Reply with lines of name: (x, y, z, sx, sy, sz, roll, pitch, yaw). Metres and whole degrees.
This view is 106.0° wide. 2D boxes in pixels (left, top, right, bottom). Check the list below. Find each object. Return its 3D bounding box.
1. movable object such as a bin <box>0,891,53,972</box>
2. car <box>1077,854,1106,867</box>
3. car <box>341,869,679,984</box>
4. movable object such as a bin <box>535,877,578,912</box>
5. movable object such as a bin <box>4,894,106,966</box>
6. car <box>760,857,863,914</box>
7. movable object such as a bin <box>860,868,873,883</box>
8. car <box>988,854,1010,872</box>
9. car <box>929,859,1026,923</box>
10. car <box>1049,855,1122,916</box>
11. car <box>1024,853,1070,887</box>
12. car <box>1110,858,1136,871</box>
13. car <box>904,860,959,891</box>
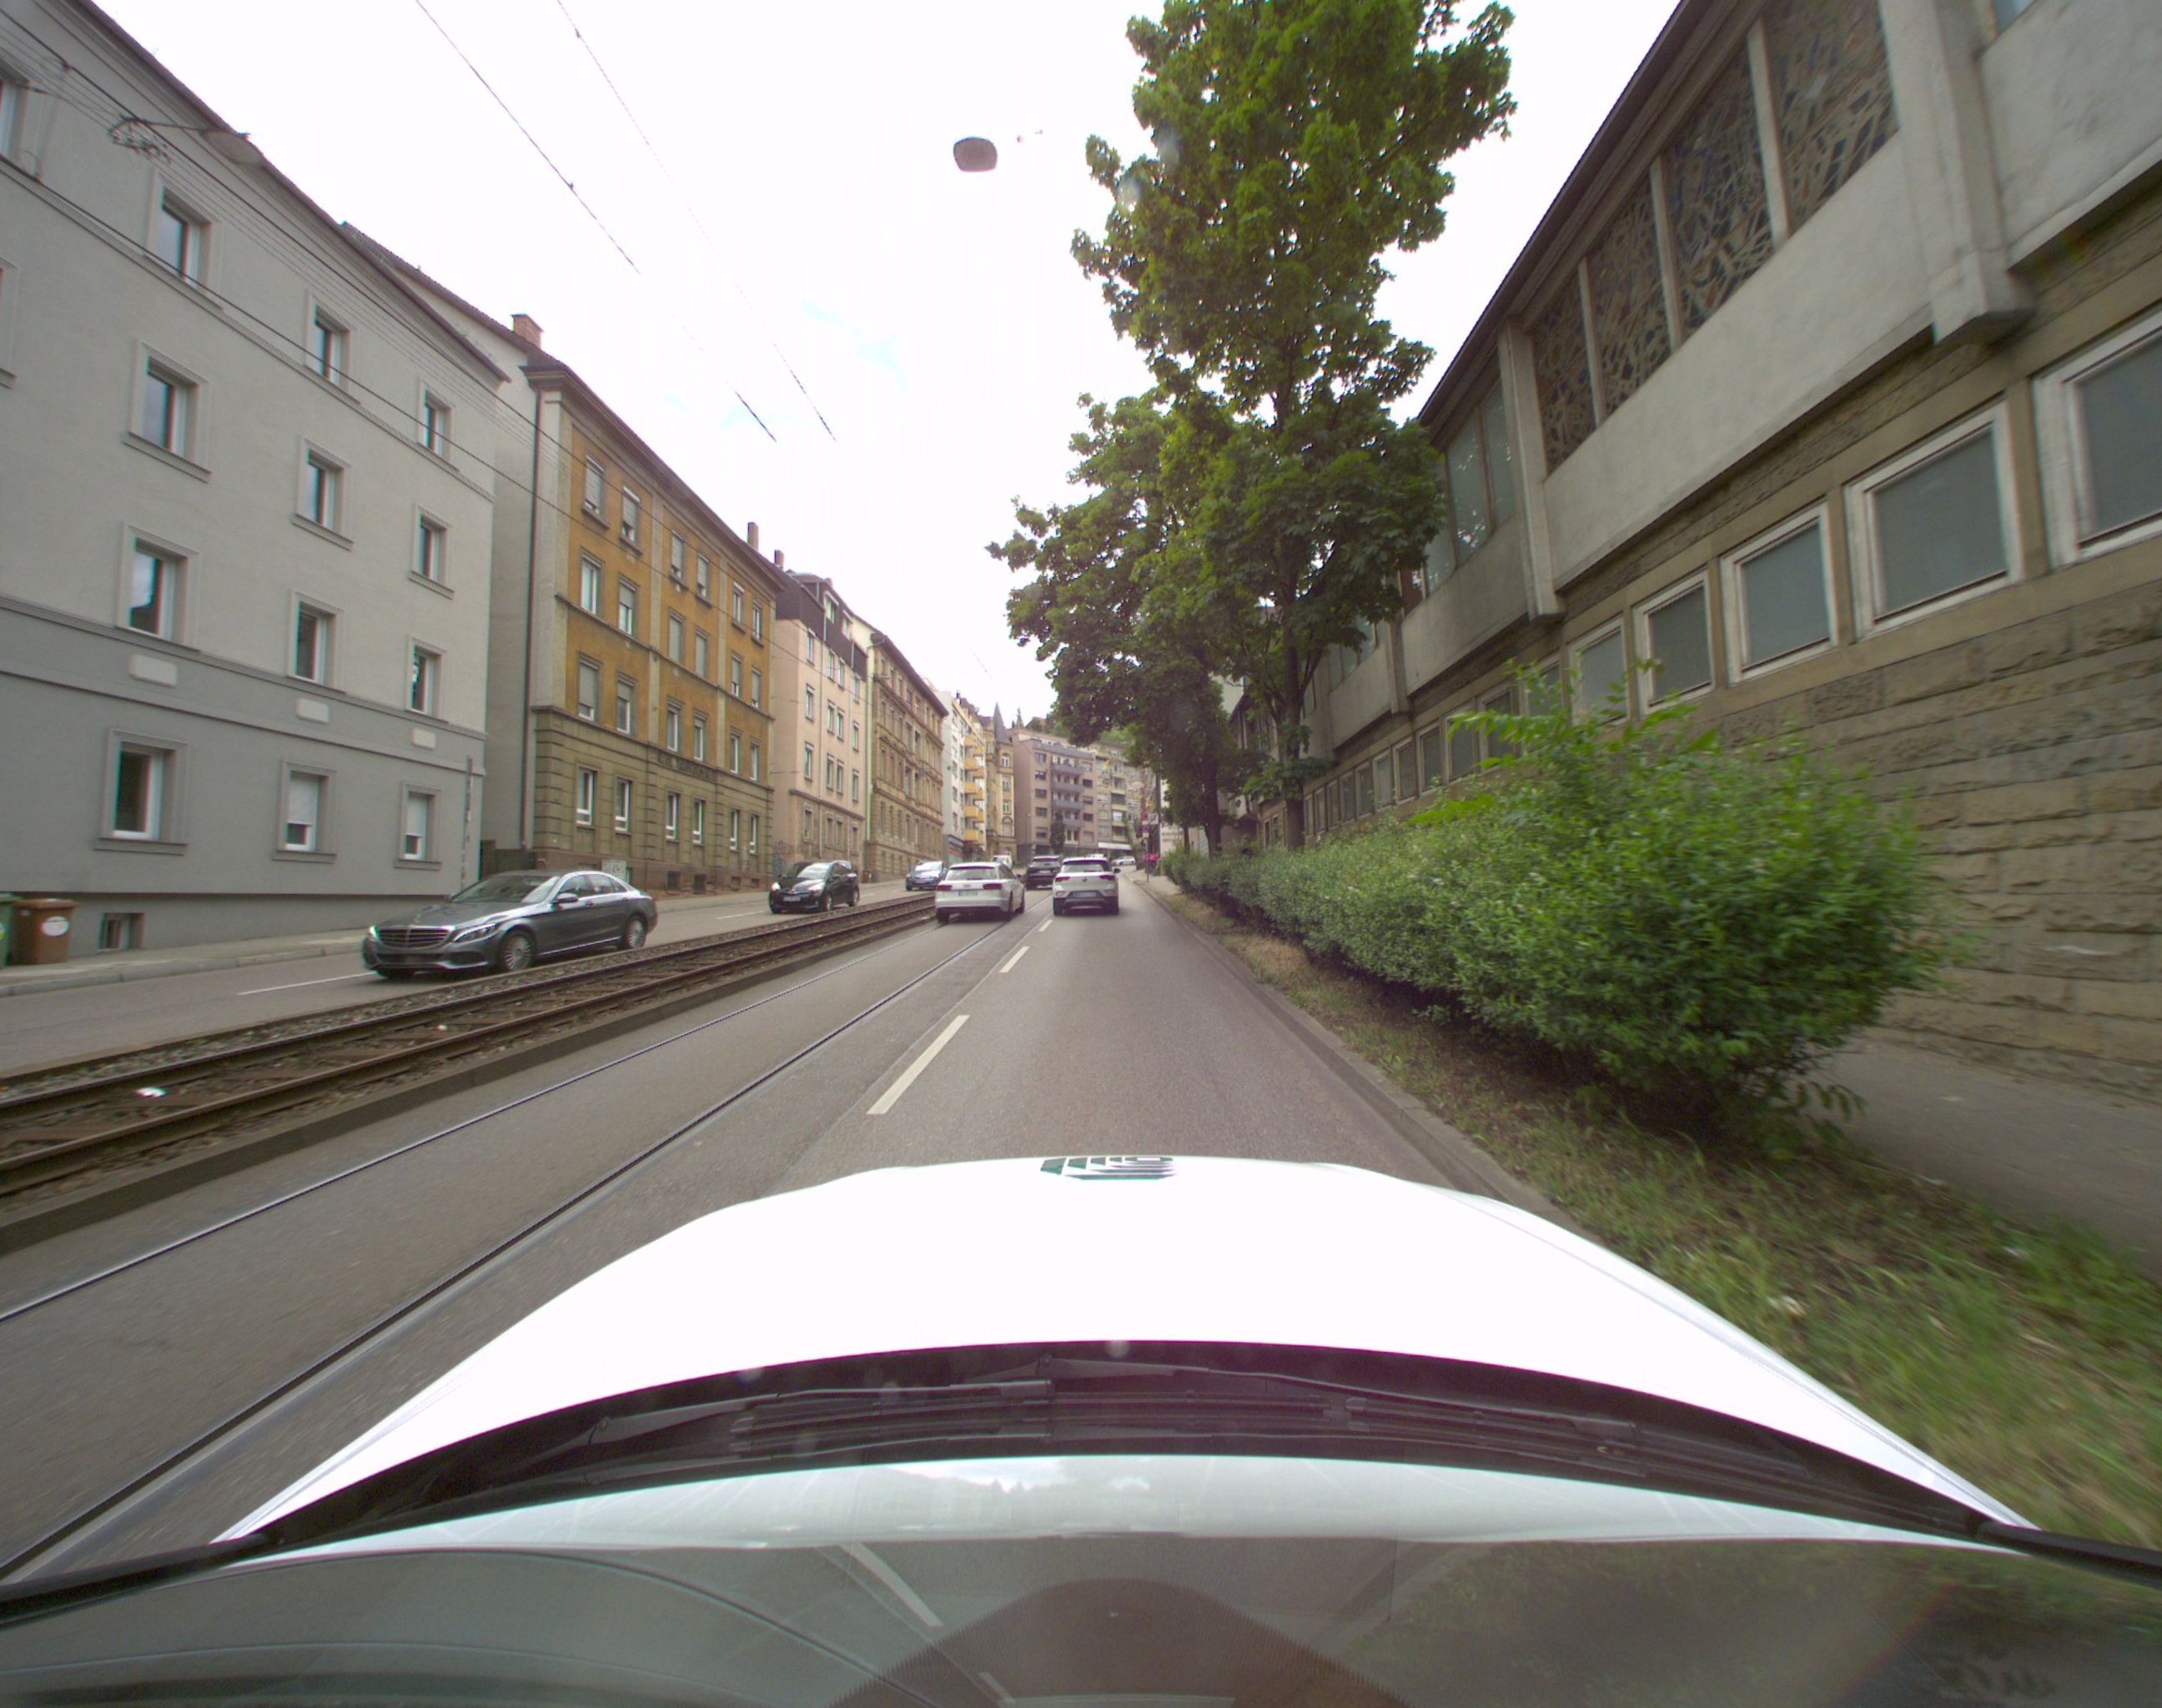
movable object such as a bin: (-14.981, 1.060, 11.201, 0.822, 1.074, 0.677, -1, 0, 2)
car: (1.712, 0.981, 127.654, 1.974, 2.035, 4.731, -1, 0, 40)
car: (-8.448, 0.971, 12.747, 1.805, 1.361, 4.766, -1, 0, 2)
movable object such as a bin: (-14.820, 1.132, 23.030, 0.776, 0.947, 0.653, -1, 0, 2)
movable object such as a bin: (-15.037, 1.104, 11.952, 0.620, 0.985, 0.677, -1, 0, 2)
car: (-8.248, 0.918, 25.274, 1.737, 1.596, 3.970, -1, 0, 2)
movable object such as a bin: (-13.898, 1.385, 52.747, 0.626, 0.911, 0.677, 2, 0, 2)
car: (-8.982, 0.987, 89.487, 1.952, 1.900, 5.314, -1, 0, -2)
car: (-2.588, 0.904, 21.483, 1.872, 1.455, 4.617, -1, -1, 1)
car: (0.180, 0.821, 23.103, 1.872, 1.554, 4.002, -1, 0, 2)
car: (-1.649, 0.781, 40.852, 2.031, 1.571, 4.359, -1, 0, 1)
car: (6.809, 1.713, 132.947, 1.885, 1.922, 4.463, -1, 0, 40)
car: (-7.680, 1.054, 42.142, 1.836, 1.455, 4.663, -1, 0, 2)
